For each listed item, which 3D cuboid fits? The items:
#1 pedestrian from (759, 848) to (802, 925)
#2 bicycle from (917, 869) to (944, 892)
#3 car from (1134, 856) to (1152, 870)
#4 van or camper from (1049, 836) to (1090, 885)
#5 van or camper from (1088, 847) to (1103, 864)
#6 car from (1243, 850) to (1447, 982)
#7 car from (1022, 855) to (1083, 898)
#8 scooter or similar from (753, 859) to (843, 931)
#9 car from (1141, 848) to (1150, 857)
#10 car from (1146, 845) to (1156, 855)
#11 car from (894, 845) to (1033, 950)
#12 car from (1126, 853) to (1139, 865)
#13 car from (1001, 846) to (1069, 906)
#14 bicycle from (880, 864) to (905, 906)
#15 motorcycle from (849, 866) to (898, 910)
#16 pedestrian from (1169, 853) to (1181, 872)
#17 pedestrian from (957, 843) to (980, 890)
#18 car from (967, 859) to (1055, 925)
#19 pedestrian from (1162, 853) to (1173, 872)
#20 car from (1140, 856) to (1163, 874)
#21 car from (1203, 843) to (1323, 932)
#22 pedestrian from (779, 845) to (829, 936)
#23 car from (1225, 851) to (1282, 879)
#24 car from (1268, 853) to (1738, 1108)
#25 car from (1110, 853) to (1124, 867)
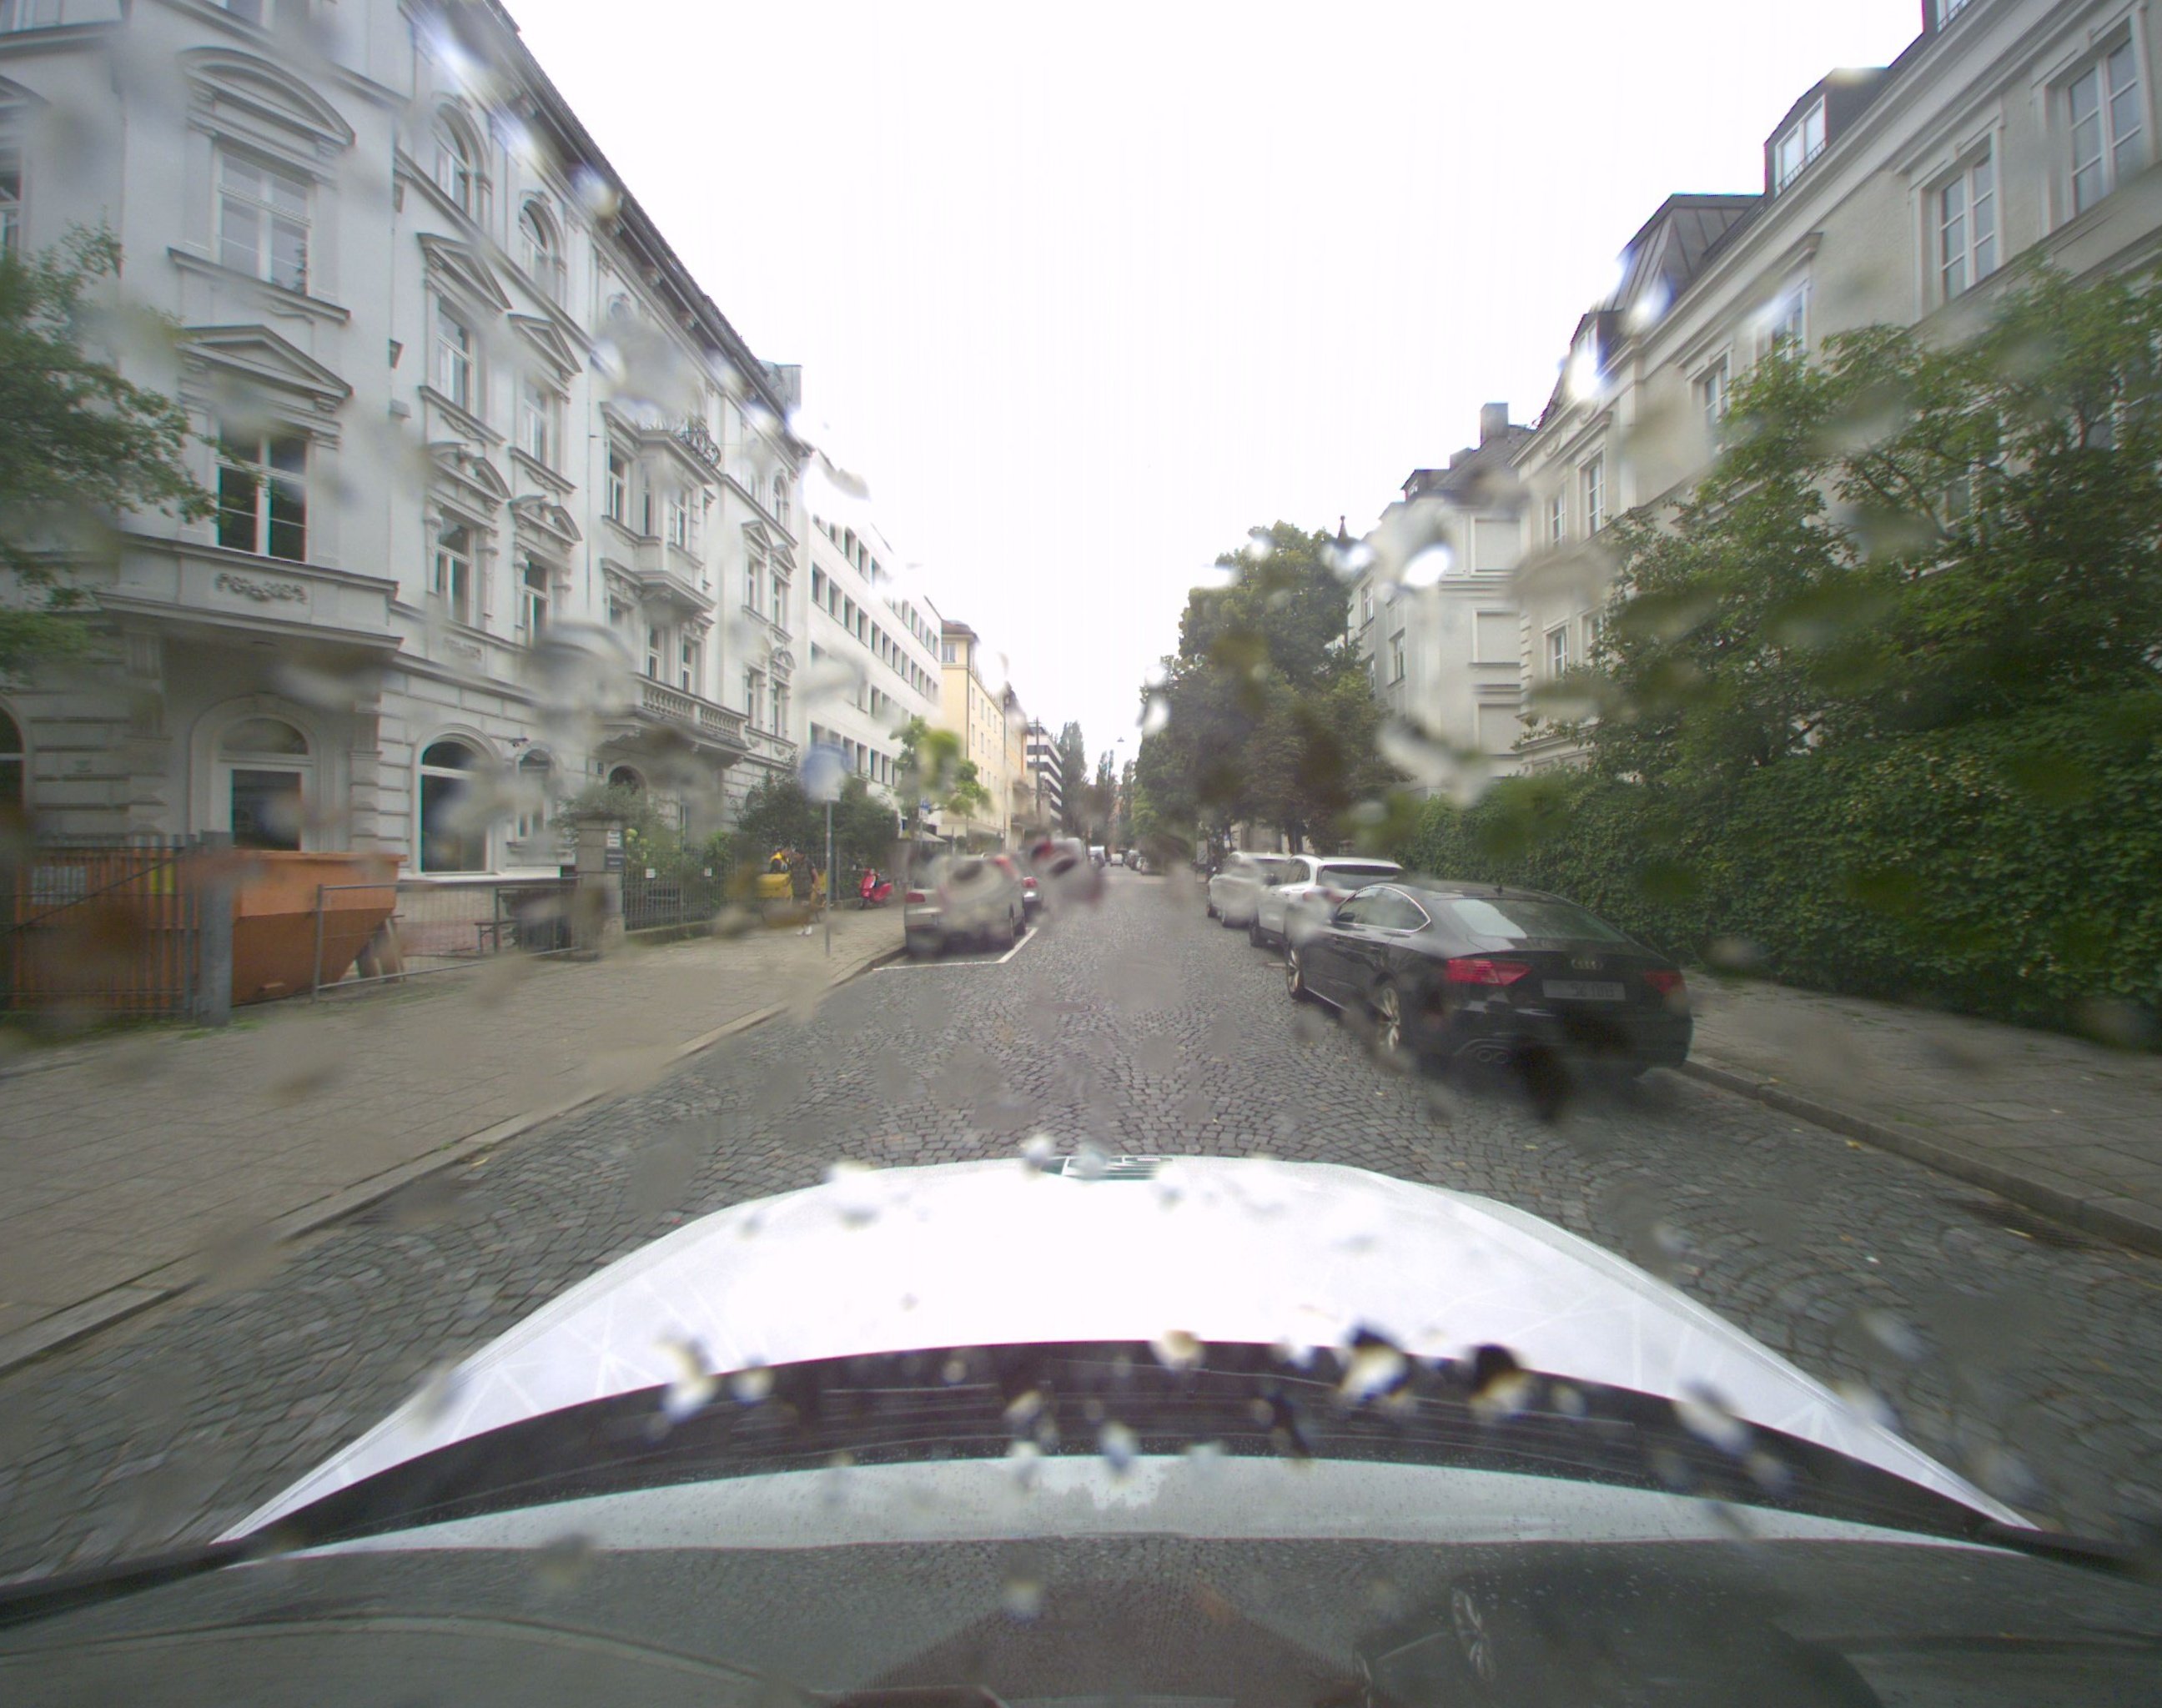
[{"bbox_3d":[-6.774,0.718,18.379,0.715,1.687,0.695,0,0,2],"label":"pedestrian"},{"bbox_3d":[-5.914,1.039,32.066,0.500,0.839,2.093,0,0,6],"label":"bicycle"},{"bbox_3d":[6.776,0.935,89.374,1.782,1.520,4.003,0,0,3],"label":"car"},{"bbox_3d":[-0.644,0.353,47.837,1.985,2.652,4.003,-3,0,3],"label":"van or camper"},{"bbox_3d":[2.422,0.298,132.427,2.247,2.742,5.101,0,0,2],"label":"van or camper"},{"bbox_3d":[3.767,0.786,12.424,1.811,1.580,4.210,3,0,2],"label":"car"},{"bbox_3d":[-1.073,0.859,32.863,1.864,1.580,4.214,2,0,6],"label":"car"},{"bbox_3d":[-6.127,0.851,17.858,0.937,1.441,2.658,0,0,2],"label":"scooter or similar"},{"bbox_3d":[15.592,-0.300,195.963,1.985,2.014,4.003,0,-1,3],"label":"car"},{"bbox_3d":[14.680,-0.818,171.436,1.985,2.014,4.003,0,-1,3],"label":"car"},{"bbox_3d":[-2.016,0.705,15.203,1.867,1.580,4.255,-3,0,0],"label":"car"},{"bbox_3d":[8.331,0.797,132.555,1.985,2.013,4.003,0,0,3],"label":"car"},{"bbox_3d":[-1.495,0.713,27.809,1.866,1.776,4.123,-4,0,1],"label":"car"},{"bbox_3d":[-5.911,0.943,25.439,0.657,1.221,2.078,0,0,-16],"label":"bicycle"},{"bbox_3d":[-5.902,0.947,23.273,0.619,1.196,1.871,0,0,11],"label":"motorcycle"},{"bbox_3d":[9.928,0.927,86.030,0.857,2.014,0.986,0,0,-15],"label":"pedestrian"},{"bbox_3d":[-4.656,0.509,33.708,0.789,1.917,0.759,1,0,2],"label":"pedestrian"},{"bbox_3d":[-1.706,0.900,21.247,1.867,1.451,4.208,-2,0,0],"label":"car"},{"bbox_3d":[9.062,0.923,85.613,0.857,2.014,0.986,0,0,-15],"label":"pedestrian"},{"bbox_3d":[5.954,0.908,68.717,1.782,1.520,4.003,0,0,3],"label":"car"},{"bbox_3d":[4.056,0.686,18.887,1.866,1.733,4.596,2,0,2],"label":"car"},{"bbox_3d":[-5.301,0.683,15.613,0.690,1.687,0.720,0,0,2],"label":"pedestrian"},{"bbox_3d":[12.559,0.814,59.467,3.963,2.014,2.005,0,0,9],"label":"car"},{"bbox_3d":[3.131,0.788,7.293,1.867,1.503,4.511,2,0,0],"label":"car"},{"bbox_3d":[5.224,0.866,117.987,1.985,2.013,4.003,0,0,3],"label":"car"}]
